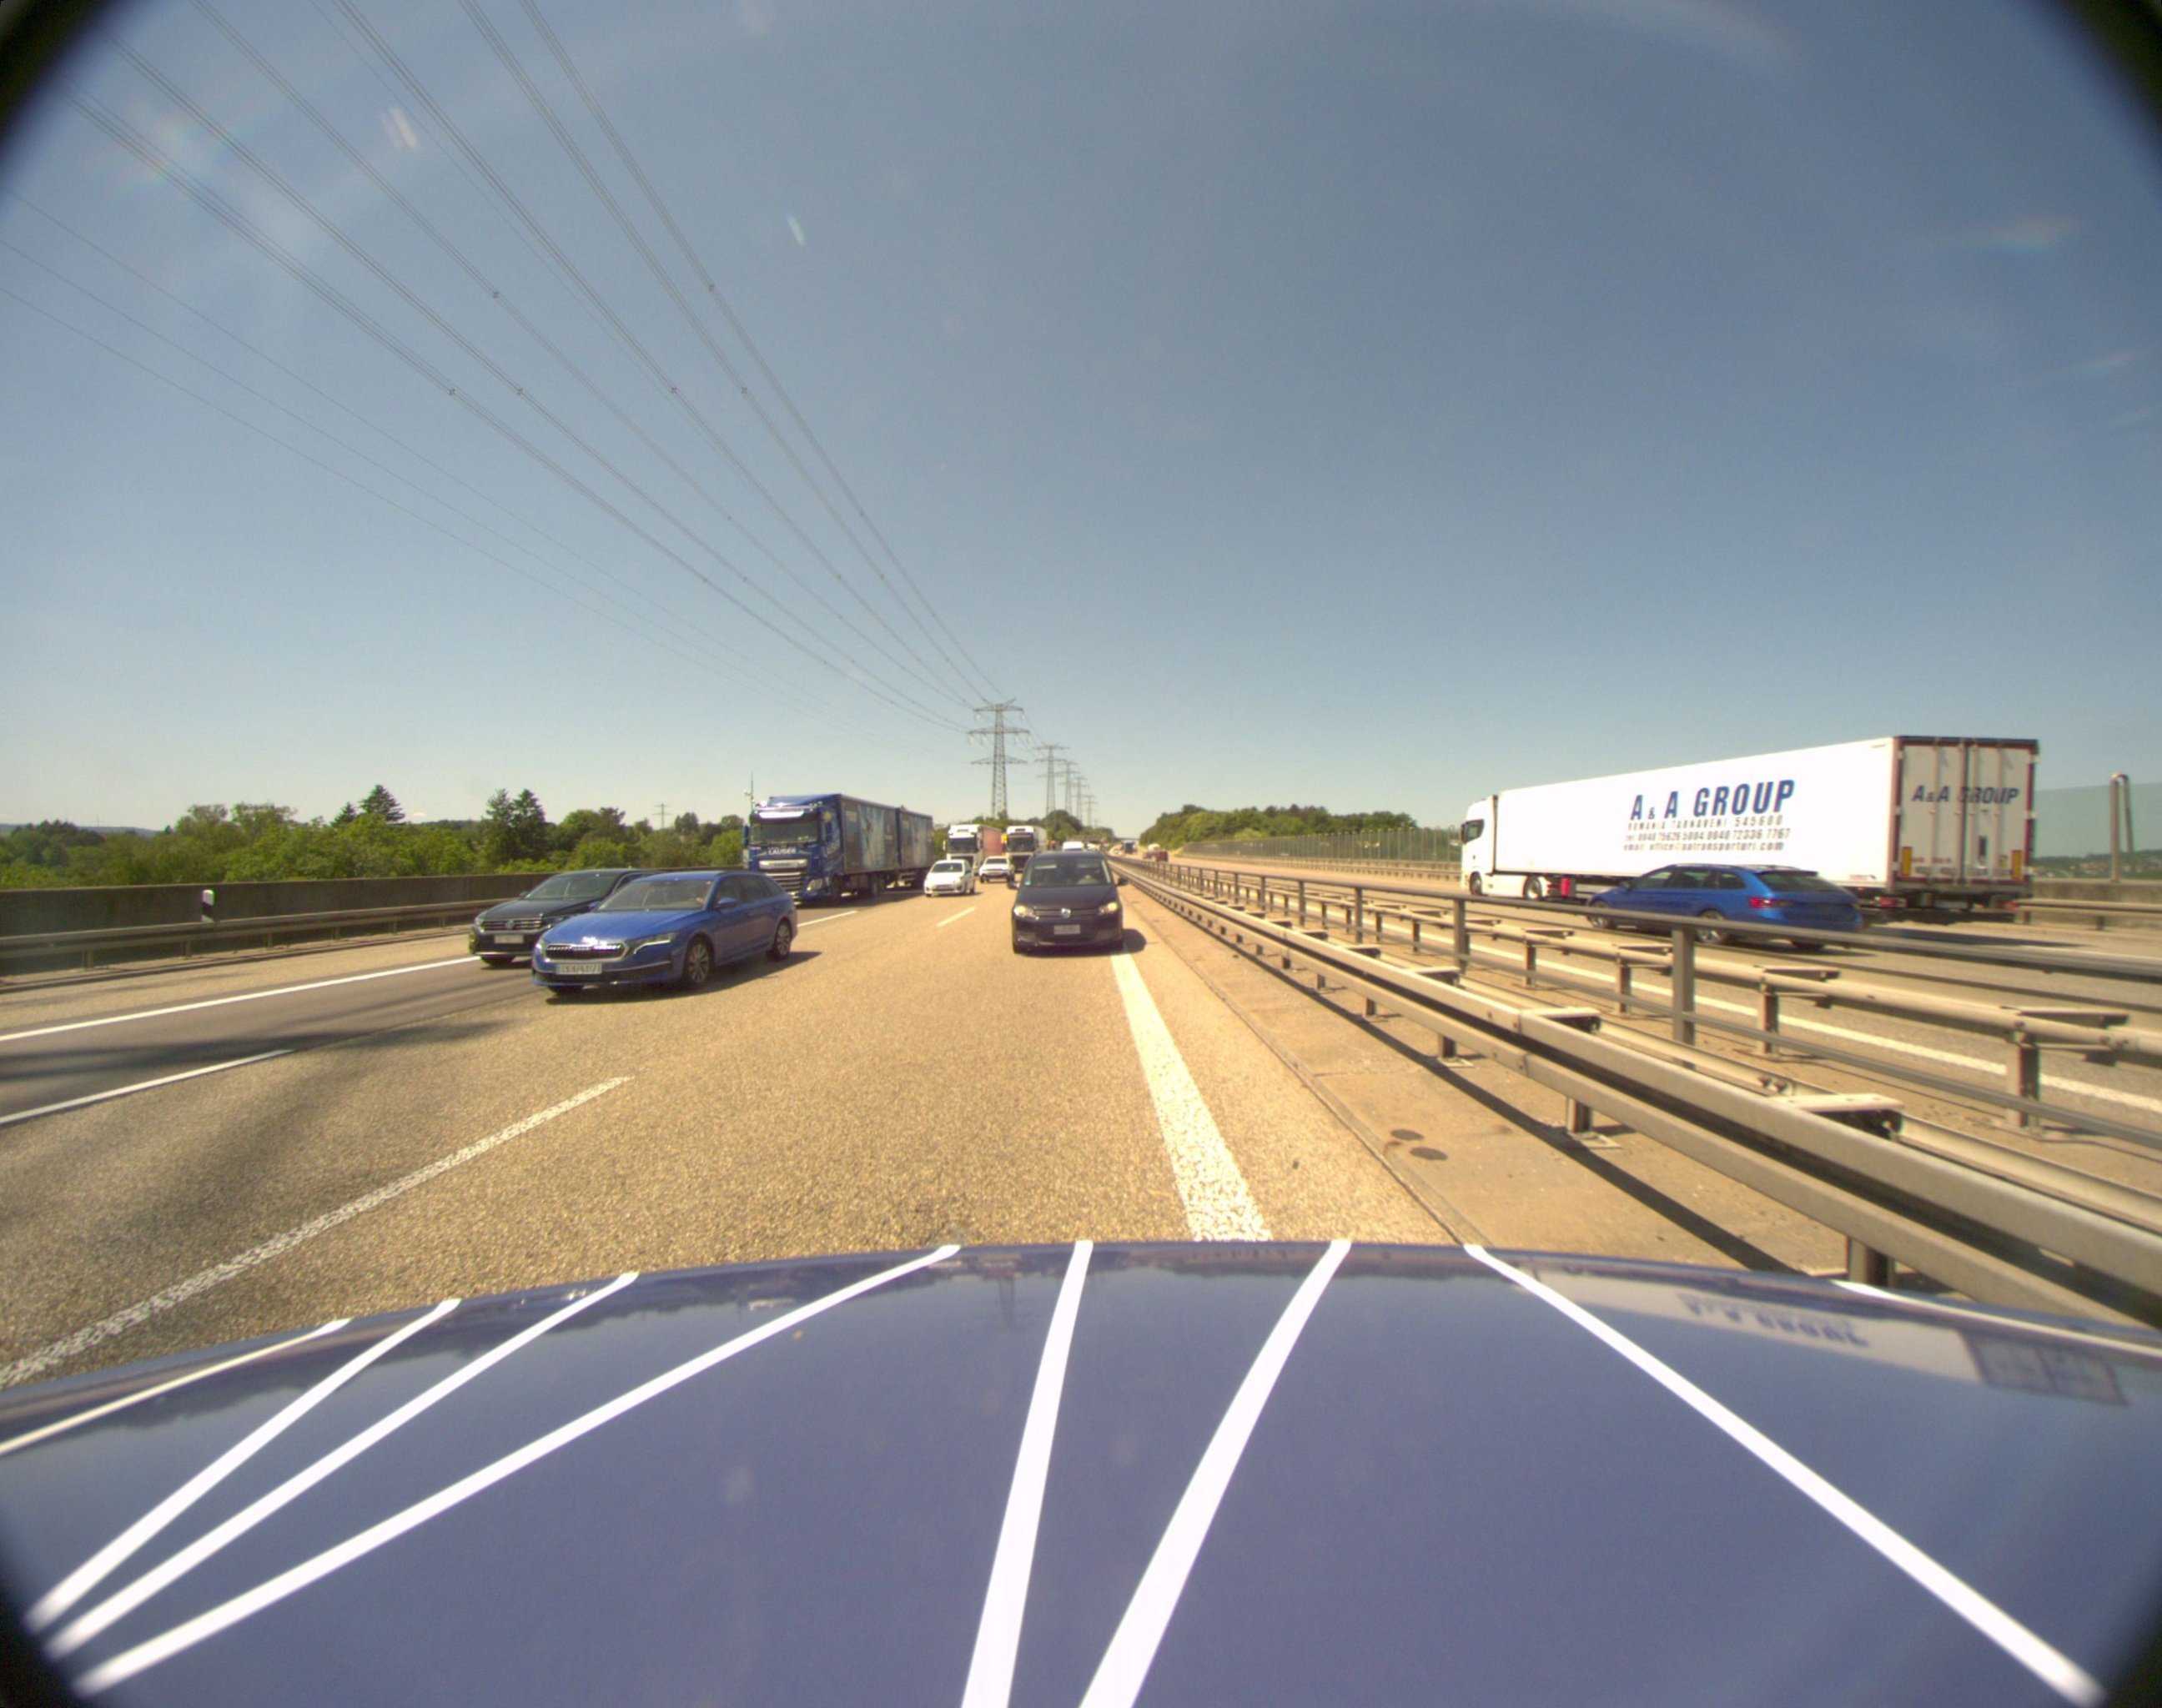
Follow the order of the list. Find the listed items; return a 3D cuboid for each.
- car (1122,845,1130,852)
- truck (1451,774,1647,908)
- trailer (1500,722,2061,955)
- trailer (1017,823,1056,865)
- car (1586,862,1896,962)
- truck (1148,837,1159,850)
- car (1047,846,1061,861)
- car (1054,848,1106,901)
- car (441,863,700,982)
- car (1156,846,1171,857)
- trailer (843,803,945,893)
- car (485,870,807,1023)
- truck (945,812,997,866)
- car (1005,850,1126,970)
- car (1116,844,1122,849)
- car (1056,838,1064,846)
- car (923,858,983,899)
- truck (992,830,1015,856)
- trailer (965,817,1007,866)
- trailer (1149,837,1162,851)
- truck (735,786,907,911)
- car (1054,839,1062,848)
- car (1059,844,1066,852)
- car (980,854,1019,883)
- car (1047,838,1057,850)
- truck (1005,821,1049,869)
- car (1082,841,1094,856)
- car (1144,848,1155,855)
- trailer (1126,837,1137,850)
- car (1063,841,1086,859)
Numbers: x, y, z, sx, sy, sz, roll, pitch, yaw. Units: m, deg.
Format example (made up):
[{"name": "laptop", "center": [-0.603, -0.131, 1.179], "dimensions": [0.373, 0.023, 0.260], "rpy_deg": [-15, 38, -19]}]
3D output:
[{"name": "car", "center": [12.075, -1.496, 205.461], "dimensions": [1.876, 1.521, 3.608], "rpy_deg": [4, 1, 0]}, {"name": "truck", "center": [16.786, -0.475, 27.999], "dimensions": [2.936, 4.269, 6.857], "rpy_deg": [2, 1, 1]}, {"name": "trailer", "center": [16.696, -0.389, 20.909], "dimensions": [2.913, 4.282, 13.659], "rpy_deg": [0, 1, 1]}, {"name": "trailer", "center": [-4.291, -1.003, 74.769], "dimensions": [2.822, 3.830, 9.084], "rpy_deg": [-2, 1, 2]}, {"name": "car", "center": [11.765, 0.917, 14.094], "dimensions": [1.777, 1.483, 4.604], "rpy_deg": [0, 0, 1]}, {"name": "truck", "center": [19.222, -2.820, 201.824], "dimensions": [2.527, 3.514, 5.329], "rpy_deg": [0, 1, 1]}, {"name": "car", "center": [-3.791, -0.118, 108.043], "dimensions": [1.704, 2.116, 3.999], "rpy_deg": [2, 1, 1]}, {"name": "car", "center": [-0.029, 0.671, 27.531], "dimensions": [1.713, 1.669, 3.931], "rpy_deg": [-2, 1, 0]}, {"name": "car", "center": [-8.762, 1.062, 13.564], "dimensions": [1.712, 1.645, 4.117], "rpy_deg": [-2, 1, 1]}, {"name": "car", "center": [13.515, -0.450, 124.883], "dimensions": [1.844, 1.812, 4.746], "rpy_deg": [0, 1, -1]}, {"name": "trailer", "center": [-9.407, -0.342, 39.367], "dimensions": [2.835, 4.066, 8.636], "rpy_deg": [-2, 1, 1]}, {"name": "car", "center": [-5.555, 1.056, 10.541], "dimensions": [1.712, 1.443, 4.563], "rpy_deg": [-2, 1, 1]}, {"name": "truck", "center": [-8.753, -1.176, 61.416], "dimensions": [2.608, 3.965, 8.264], "rpy_deg": [-2, 1, 2]}, {"name": "car", "center": [-0.227, 0.814, 13.121], "dimensions": [1.713, 1.669, 3.931], "rpy_deg": [-2, 1, 0]}, {"name": "car", "center": [12.941, -2.437, 256.673], "dimensions": [1.811, 1.630, 3.999], "rpy_deg": [1, 1, -1]}, {"name": "car", "center": [-5.290, -3.087, 193.436], "dimensions": [1.704, 2.116, 3.999], "rpy_deg": [2, 1, 1]}, {"name": "car", "center": [-5.269, 0.967, 31.803], "dimensions": [1.712, 1.443, 4.144], "rpy_deg": [-2, 1, 1]}, {"name": "truck", "center": [-9.397, -1.380, 92.730], "dimensions": [2.251, 2.965, 6.242], "rpy_deg": [2, 1, -1]}, {"name": "trailer", "center": [-8.634, -1.131, 70.051], "dimensions": [2.608, 4.094, 9.083], "rpy_deg": [-2, 1, 0]}, {"name": "trailer", "center": [19.168, -2.682, 196.627], "dimensions": [2.505, 3.520, 10.901], "rpy_deg": [0, 1, 1]}, {"name": "truck", "center": [-9.603, -0.254, 29.806], "dimensions": [2.859, 3.927, 10.393], "rpy_deg": [-2, 1, 1]}, {"name": "car", "center": [-5.645, -2.639, 184.165], "dimensions": [1.704, 2.116, 3.999], "rpy_deg": [2, 1, 1]}, {"name": "car", "center": [-5.173, -1.690, 214.243], "dimensions": [1.704, 2.116, 3.999], "rpy_deg": [2, 1, 1]}, {"name": "car", "center": [-4.748, 0.812, 44.661], "dimensions": [1.712, 1.501, 4.144], "rpy_deg": [-2, 1, 1]}, {"name": "car", "center": [-5.927, -2.036, 154.220], "dimensions": [1.704, 2.525, 3.999], "rpy_deg": [2, 1, 1]}, {"name": "truck", "center": [-4.570, -0.766, 66.080], "dimensions": [2.849, 3.804, 8.264], "rpy_deg": [-2, 1, 2]}, {"name": "car", "center": [1.094, -0.881, 117.455], "dimensions": [1.704, 2.116, 3.999], "rpy_deg": [-2, 1, 1]}, {"name": "car", "center": [14.343, -0.577, 160.069], "dimensions": [1.876, 1.434, 4.384], "rpy_deg": [1, 1, 0]}, {"name": "trailer", "center": [17.154, -3.585, 259.740], "dimensions": [2.711, 4.141, 12.047], "rpy_deg": [0, 1, 0]}, {"name": "car", "center": [-0.587, -0.362, 69.783], "dimensions": [1.924, 1.501, 3.996], "rpy_deg": [-2, 1, 1]}]
